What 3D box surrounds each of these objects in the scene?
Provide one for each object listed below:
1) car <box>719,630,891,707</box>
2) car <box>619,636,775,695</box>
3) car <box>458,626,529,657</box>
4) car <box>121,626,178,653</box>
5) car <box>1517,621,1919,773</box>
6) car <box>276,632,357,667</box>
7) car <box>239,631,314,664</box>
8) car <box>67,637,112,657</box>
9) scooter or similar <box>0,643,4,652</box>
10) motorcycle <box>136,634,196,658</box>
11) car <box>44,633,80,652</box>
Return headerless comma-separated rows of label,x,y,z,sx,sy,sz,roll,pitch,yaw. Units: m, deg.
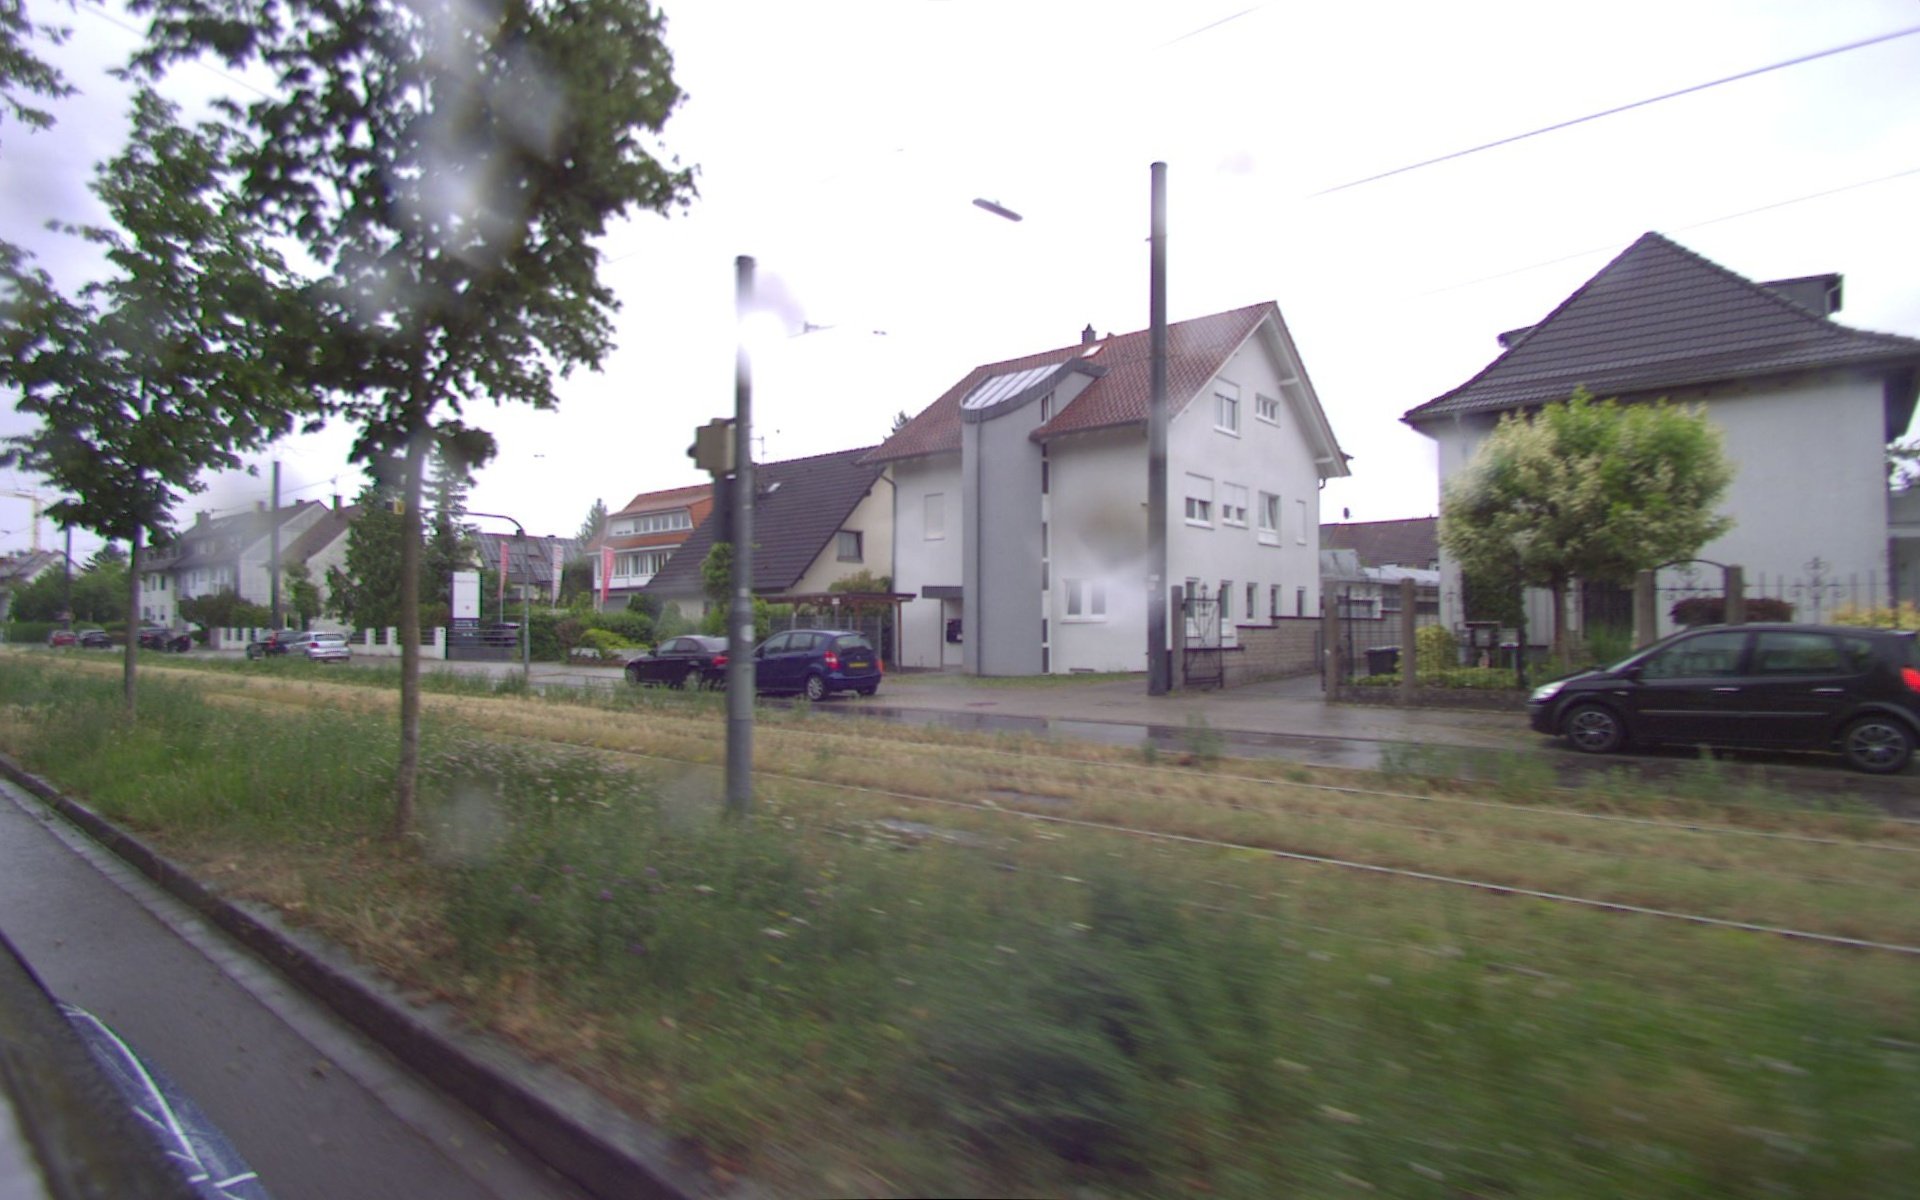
car,-3.652,1.541,23.576,3.867,1.562,1.855,-2,-1,40
car,-7.022,1.693,26.796,4.238,1.361,1.972,-2,-1,42
car,-23.242,2.056,50.351,3.968,1.421,1.681,-2,-1,40
car,-53.154,2.593,66.359,4.381,1.687,1.974,-1,-2,38
car,9.429,1.075,12.395,4.204,1.528,1.972,-2,-1,42
car,-29.109,2.220,45.756,3.968,1.421,1.973,-2,-1,40
car,-33.158,2.277,49.076,4.529,1.467,1.972,-2,-1,42
car,-66.309,3.588,77.069,4.760,1.421,1.972,-2,-1,42
scooter or similar,-105.272,5.198,110.953,1.255,0.917,0.343,-2,-3,34
motorcycle,-49.448,2.839,63.040,2.645,1.421,1.269,0,0,-8
car,-74.874,3.545,84.372,3.999,1.468,1.779,-2,-1,42
